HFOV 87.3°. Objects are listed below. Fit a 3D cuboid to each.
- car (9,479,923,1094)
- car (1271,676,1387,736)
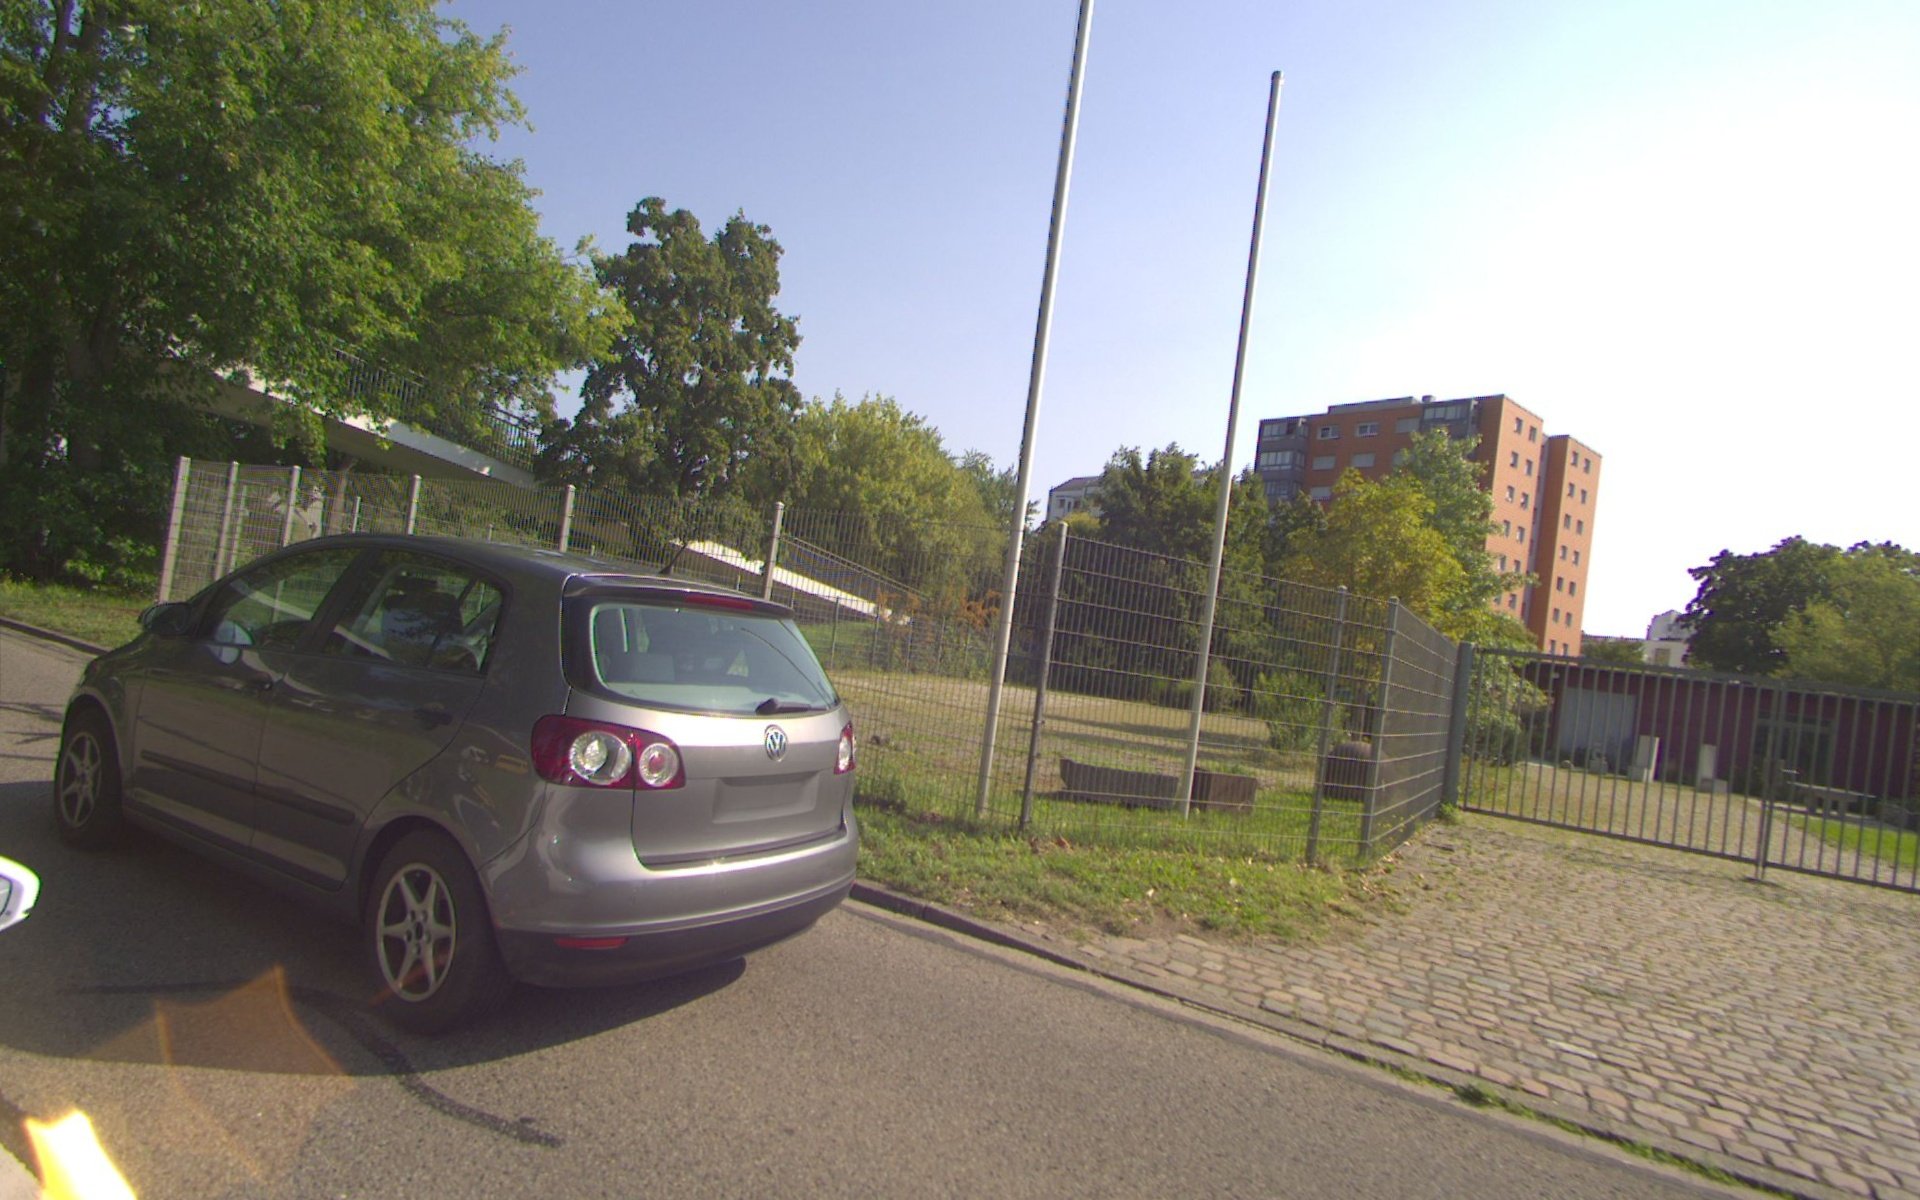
[{"bbox_3d":[-2.303,0.488,4.466,3.833,1.574,1.650,6,-3,30],"label":"car"},{"bbox_3d":[14.703,4.206,40.119,3.933,1.736,1.744,7,-2,31],"label":"car"}]
